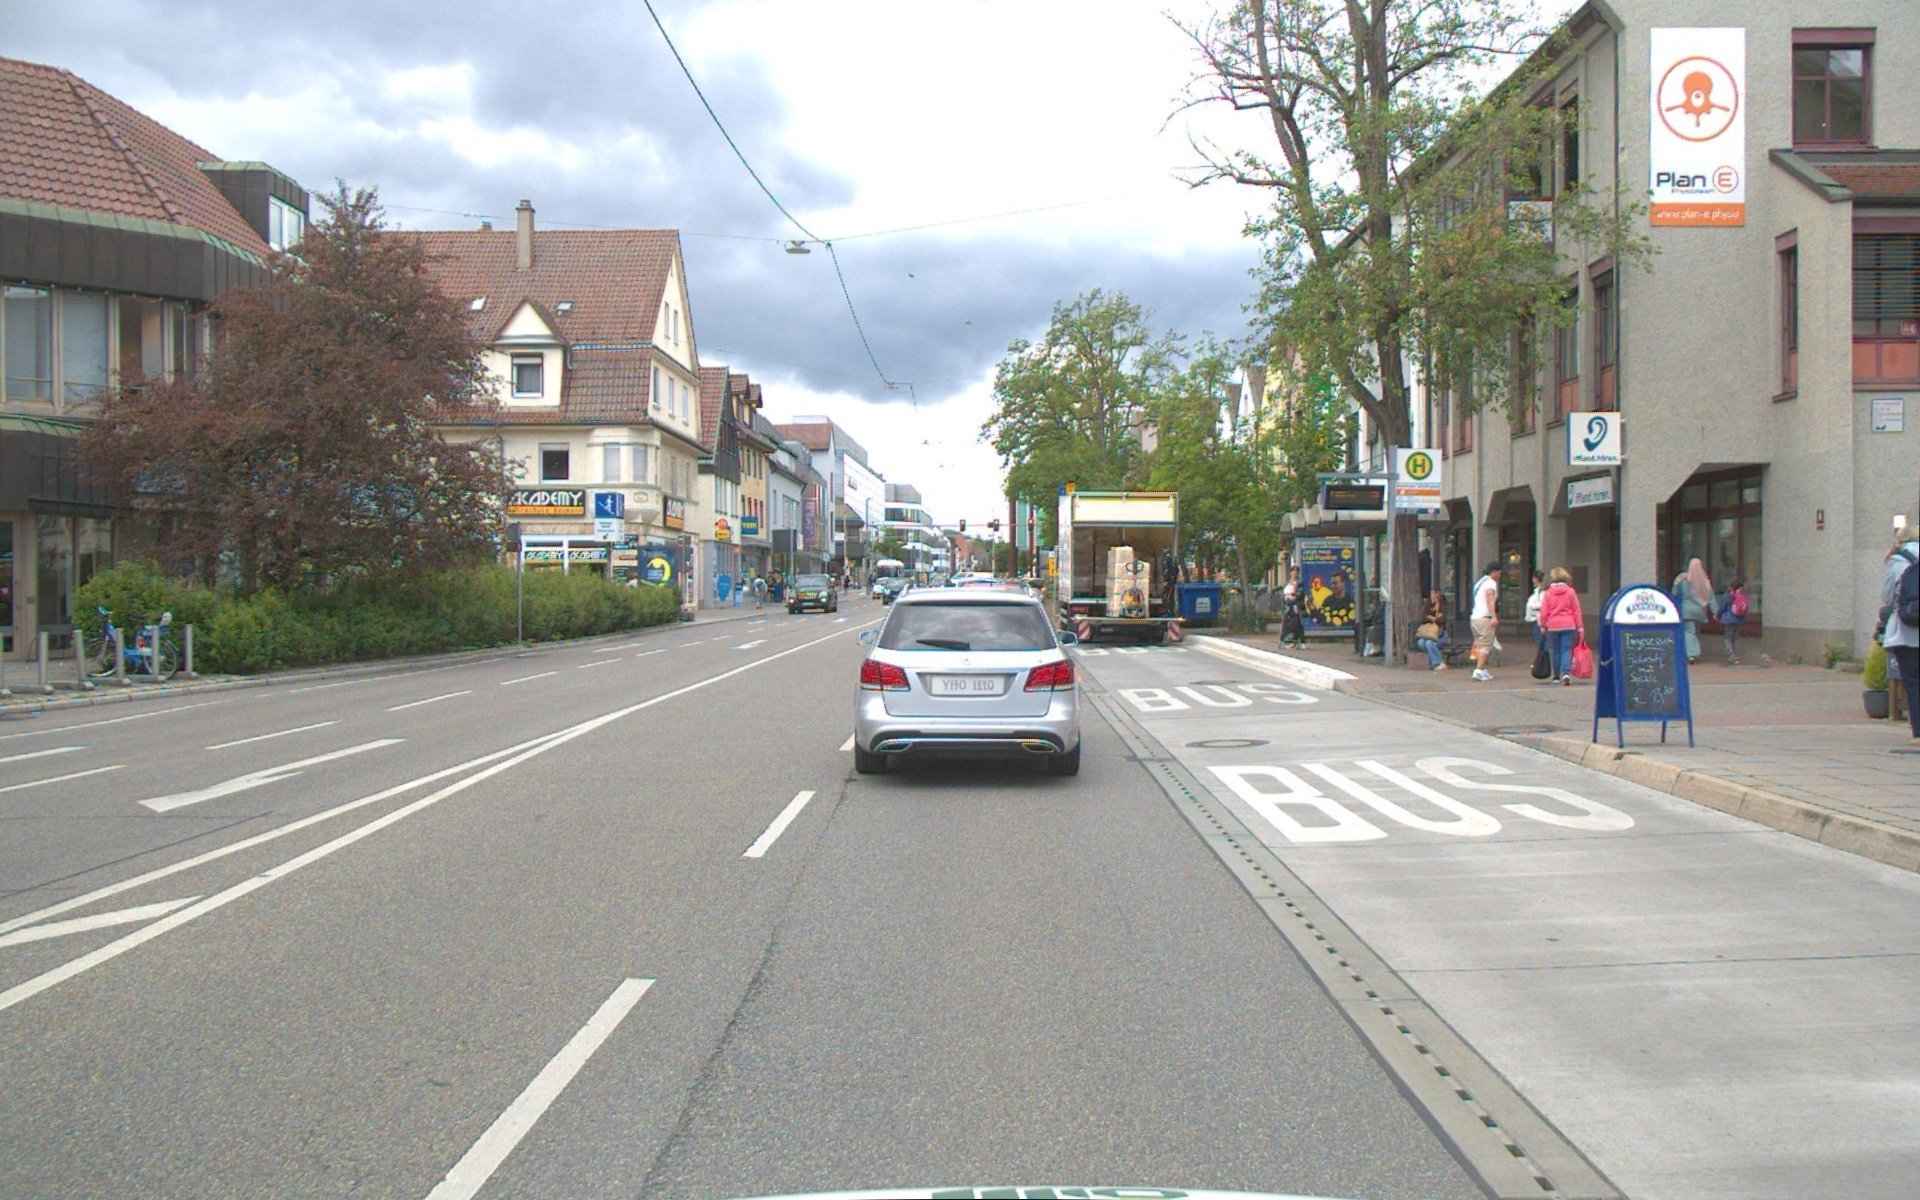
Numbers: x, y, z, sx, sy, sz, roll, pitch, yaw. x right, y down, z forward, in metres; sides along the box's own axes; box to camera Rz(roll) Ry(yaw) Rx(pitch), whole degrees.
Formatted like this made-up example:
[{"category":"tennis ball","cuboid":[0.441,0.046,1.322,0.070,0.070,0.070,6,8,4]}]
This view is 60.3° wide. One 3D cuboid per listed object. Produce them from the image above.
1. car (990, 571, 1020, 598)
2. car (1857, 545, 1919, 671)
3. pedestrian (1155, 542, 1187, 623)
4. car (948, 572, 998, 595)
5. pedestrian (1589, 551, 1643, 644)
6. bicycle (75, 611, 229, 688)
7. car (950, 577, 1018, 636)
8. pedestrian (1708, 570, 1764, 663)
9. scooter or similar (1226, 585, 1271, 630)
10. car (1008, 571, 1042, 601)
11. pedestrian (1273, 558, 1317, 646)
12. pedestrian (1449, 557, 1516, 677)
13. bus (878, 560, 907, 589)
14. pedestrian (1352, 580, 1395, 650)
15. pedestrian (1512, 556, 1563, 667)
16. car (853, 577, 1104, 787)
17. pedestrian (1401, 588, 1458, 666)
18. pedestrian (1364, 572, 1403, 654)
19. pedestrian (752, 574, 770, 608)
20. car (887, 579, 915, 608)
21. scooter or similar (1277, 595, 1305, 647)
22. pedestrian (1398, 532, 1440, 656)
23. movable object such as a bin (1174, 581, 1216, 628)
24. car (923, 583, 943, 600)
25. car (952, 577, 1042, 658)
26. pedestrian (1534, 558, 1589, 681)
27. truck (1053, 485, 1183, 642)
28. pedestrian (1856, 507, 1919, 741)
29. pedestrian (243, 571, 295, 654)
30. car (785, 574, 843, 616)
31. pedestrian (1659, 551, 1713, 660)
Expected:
[{"category":"car","cuboid":[2.929,-1.012,107.955,1.952,1.713,4.001,0,1,2]},{"category":"car","cuboid":[14.877,0.099,22.308,4.507,1.648,1.881,0,0,5]},{"category":"pedestrian","cuboid":[4.795,-0.397,37.672,0.600,1.811,0.587,-1,-1,-2]},{"category":"car","cuboid":[1.267,-1.578,157.522,1.932,1.995,5.112,-2,1,41]},{"category":"pedestrian","cuboid":[11.831,-0.055,29.833,0.712,1.663,0.614,0,1,-7]},{"category":"bicycle","cuboid":[-12.277,0.740,25.169,1.980,1.109,0.648,-1,1,-9]},{"category":"car","cuboid":[0.742,0.161,49.706,1.952,1.713,4.001,0,1,2]},{"category":"pedestrian","cuboid":[11.823,0.247,25.212,0.574,1.399,0.615,0,1,3]},{"category":"scooter or similar","cuboid":[8.085,0.205,46.329,1.153,1.217,0.459,-1,0,-8]},{"category":"car","cuboid":[3.795,-0.812,96.894,1.952,1.713,4.001,0,1,2]},{"category":"pedestrian","cuboid":[6.482,0.043,31.984,0.527,1.663,0.584,2,1,-23]},{"category":"pedestrian","cuboid":[7.356,0.224,23.317,0.602,1.663,0.792,-1,1,-12]},{"category":"bus","cuboid":[-7.510,-2.820,184.645,2.718,3.220,5.934,0,1,2]},{"category":"pedestrian","cuboid":[7.660,0.268,30.675,0.685,1.253,0.588,-3,0,10]},{"category":"pedestrian","cuboid":[8.771,0.165,25.121,0.600,1.663,0.588,0,1,6]},{"category":"car","cuboid":[0.115,0.583,14.108,1.836,1.532,4.000,0,0,-1]},{"category":"pedestrian","cuboid":[7.324,0.411,25.819,0.698,1.186,0.587,0,1,-6]},{"category":"pedestrian","cuboid":[7.518,0.222,29.371,0.600,1.425,0.588,-2,0,14]},{"category":"pedestrian","cuboid":[-9.931,-0.463,82.366,0.800,1.663,0.979,1,1,-4]},{"category":"car","cuboid":[-3.368,-0.381,94.945,1.538,1.567,2.960,1,1,-1]},{"category":"scooter or similar","cuboid":[6.315,0.404,31.571,0.381,0.975,0.350,-1,1,-40]},{"category":"pedestrian","cuboid":[7.861,-0.097,28.356,0.600,2.082,0.588,-2,0,14]},{"category":"movable object such as a bin","cuboid":[7.032,0.118,49.531,1.119,1.363,1.376,-1,1,3]},{"category":"car","cuboid":[-2.449,-0.793,149.052,1.583,1.453,3.924,-1,1,2]},{"category":"car","cuboid":[0.753,0.332,33.878,1.718,1.547,4.001,-1,0,1]},{"category":"pedestrian","cuboid":[8.047,0.248,22.123,0.658,1.594,0.492,1,2,21]},{"category":"truck","cuboid":[3.941,-0.929,43.292,2.633,3.623,9.768,0,1,1]},{"category":"pedestrian","cuboid":[7.560,0.175,12.846,0.669,1.772,0.781,-2,-1,-4]},{"category":"pedestrian","cuboid":[-15.450,0.267,37.007,0.710,1.794,0.756,4,1,5]},{"category":"car","cuboid":[-6.661,-0.250,76.005,2.026,1.768,4.694,-2,1,2]},{"category":"pedestrian","cuboid":[11.225,0.084,25.576,0.574,1.663,0.615,0,1,2]}]
